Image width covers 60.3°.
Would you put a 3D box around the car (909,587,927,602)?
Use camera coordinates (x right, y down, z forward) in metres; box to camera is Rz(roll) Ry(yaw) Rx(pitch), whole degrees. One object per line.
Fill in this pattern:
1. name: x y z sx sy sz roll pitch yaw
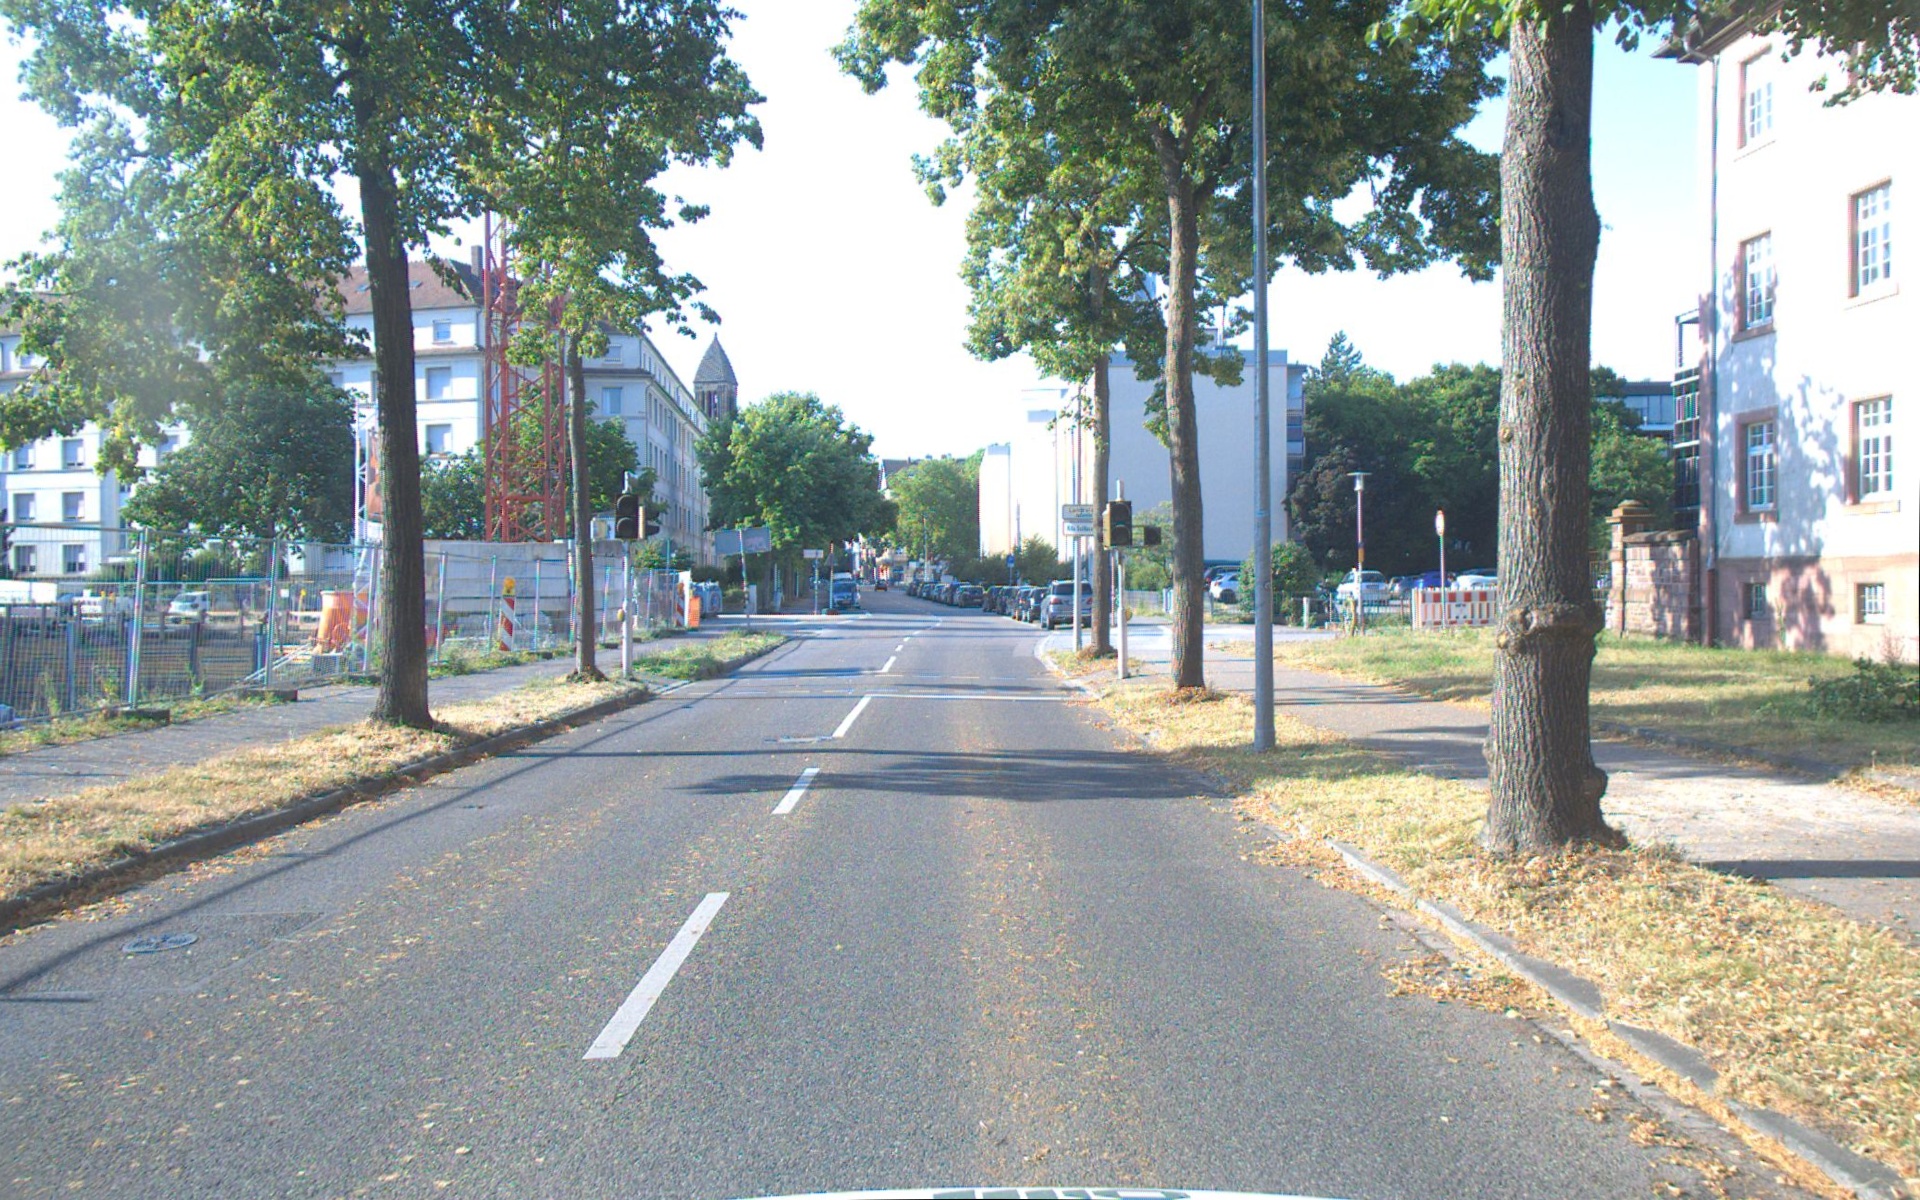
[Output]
1. car: -4.732 -0.588 186.473 1.806 1.409 3.997 -7 0 -4

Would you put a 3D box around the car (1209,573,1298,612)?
1. car: 13.642 -0.354 77.110 3.903 1.713 2.001 1 -1 5

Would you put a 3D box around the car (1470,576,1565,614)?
1. car: 26.661 -0.250 79.174 3.905 1.758 1.773 1 0 0

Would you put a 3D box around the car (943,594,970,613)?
1. car: -0.282 0.251 124.084 1.805 1.410 3.997 -1 0 -4

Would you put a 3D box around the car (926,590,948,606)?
1. car: -2.187 -0.180 157.021 1.805 1.410 3.997 -1 0 -4

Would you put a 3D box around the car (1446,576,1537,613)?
1. car: 26.364 -0.281 82.131 3.905 1.758 1.773 1 0 0

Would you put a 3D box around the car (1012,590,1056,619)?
1. car: 3.481 0.220 78.015 1.804 1.283 3.999 -1 0 -1

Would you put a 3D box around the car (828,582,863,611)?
1. car: -6.994 -0.194 100.403 1.955 1.717 3.995 -1 0 -6

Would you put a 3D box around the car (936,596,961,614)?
1. car: -0.997 0.423 136.253 1.805 1.410 3.997 -1 0 -4

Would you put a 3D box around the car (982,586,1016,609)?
1. car: 2.224 -0.146 95.002 1.804 1.283 3.999 -1 0 -1

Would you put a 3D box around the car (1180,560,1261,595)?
1. car: 13.552 -1.177 86.133 3.905 1.758 1.773 1 0 0

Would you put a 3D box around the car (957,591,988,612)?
1. car: 0.860 0.086 113.311 1.805 1.410 3.997 -1 0 -4

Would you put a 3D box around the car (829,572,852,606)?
1. car: -11.928 -1.098 165.412 2.143 3.185 4.981 -3 0 -4

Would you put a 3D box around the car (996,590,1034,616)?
1. car: 2.908 0.160 88.262 1.804 1.283 3.999 -1 0 -1

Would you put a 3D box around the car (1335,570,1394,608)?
1. car: 17.864 -0.463 73.168 1.775 1.587 3.626 1 -1 2

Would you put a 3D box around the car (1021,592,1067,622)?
1. car: 3.650 0.292 72.538 1.743 1.248 3.999 -1 0 -1

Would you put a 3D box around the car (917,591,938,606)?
1. car: -3.210 -0.135 163.497 1.805 1.410 3.997 -1 0 -4

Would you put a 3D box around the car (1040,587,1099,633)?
1. car: 4.020 0.364 61.187 1.804 1.601 3.999 -1 0 -1

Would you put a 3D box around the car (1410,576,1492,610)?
1. car: 26.639 -0.395 89.844 3.905 1.758 1.773 1 0 0

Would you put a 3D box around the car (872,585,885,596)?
1. car: -11.394 -1.355 230.748 1.680 1.512 3.997 -2 0 -4
